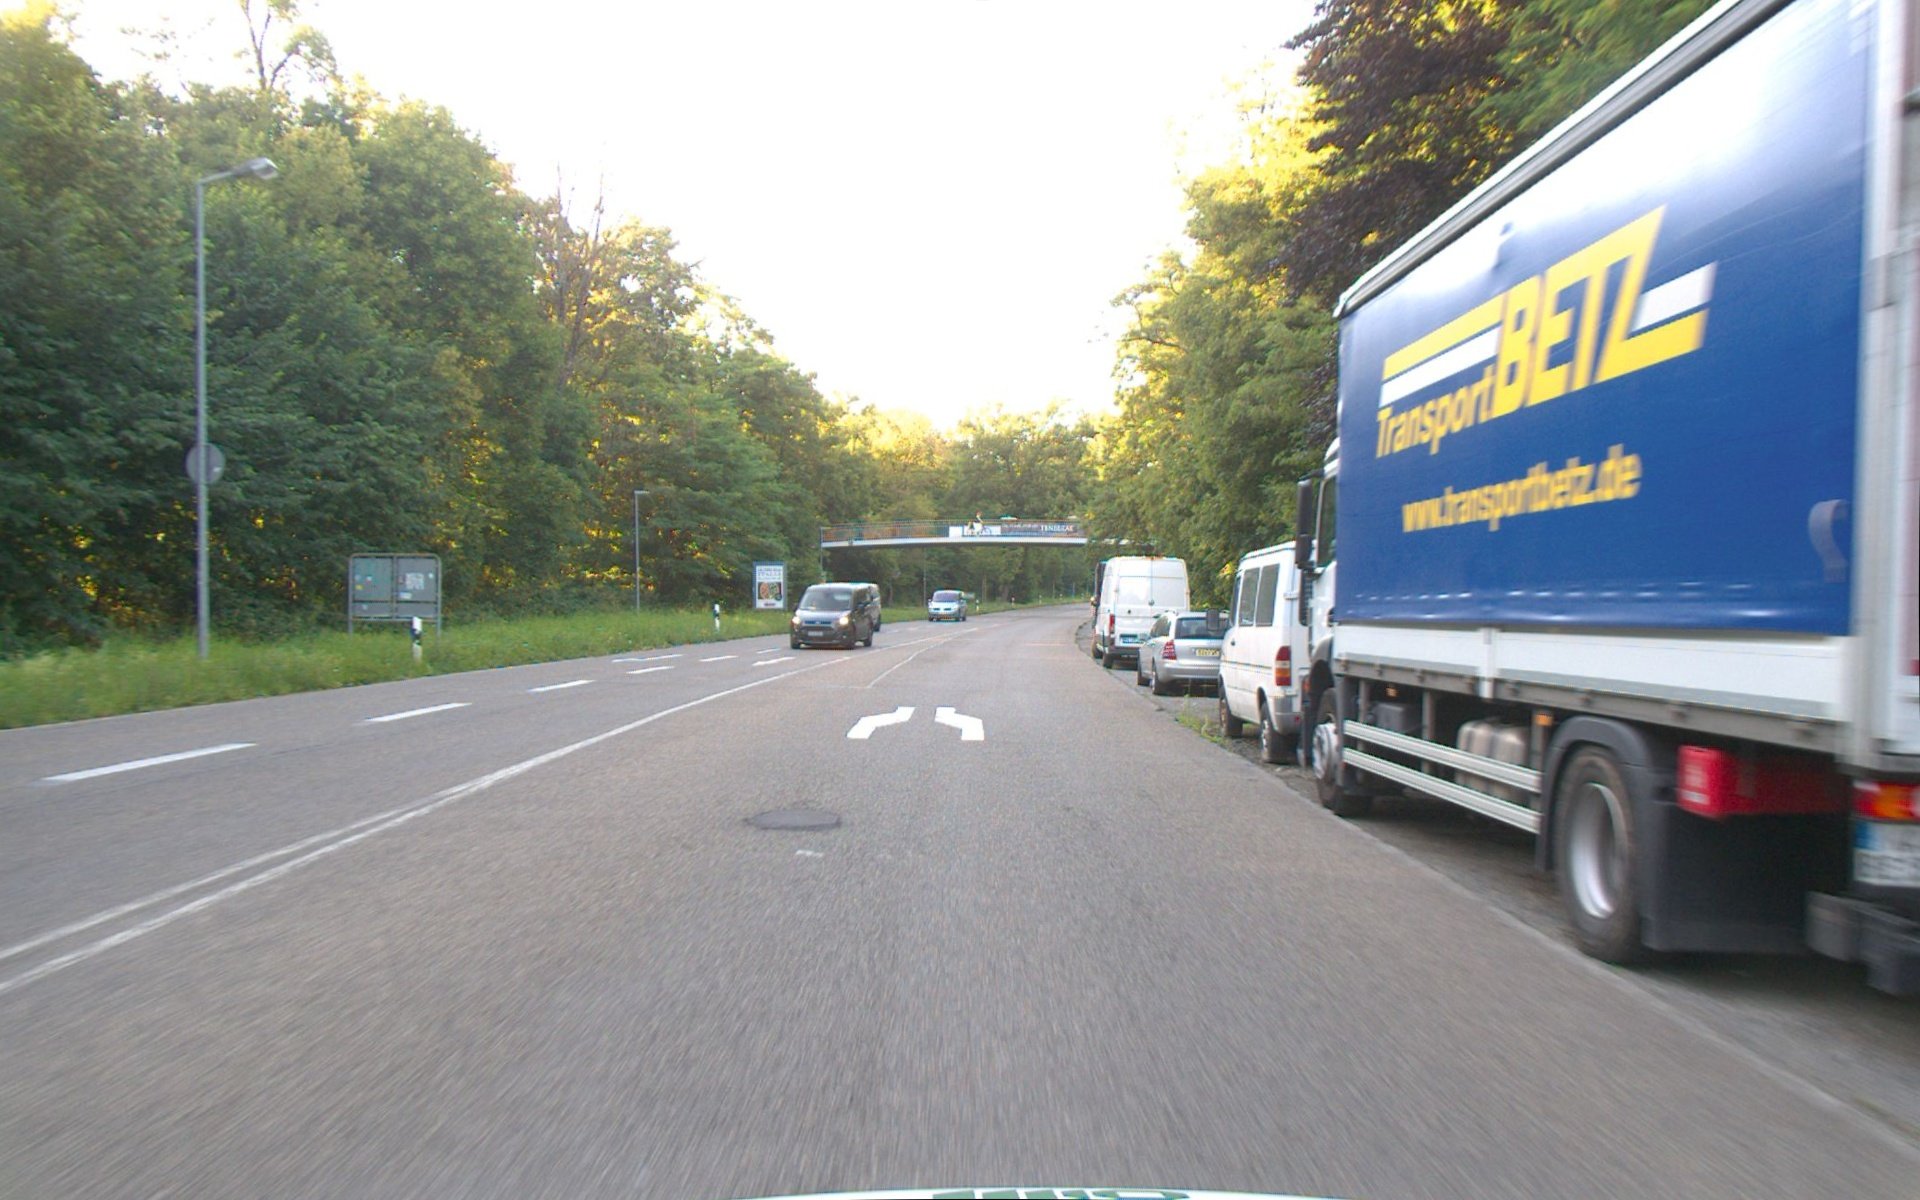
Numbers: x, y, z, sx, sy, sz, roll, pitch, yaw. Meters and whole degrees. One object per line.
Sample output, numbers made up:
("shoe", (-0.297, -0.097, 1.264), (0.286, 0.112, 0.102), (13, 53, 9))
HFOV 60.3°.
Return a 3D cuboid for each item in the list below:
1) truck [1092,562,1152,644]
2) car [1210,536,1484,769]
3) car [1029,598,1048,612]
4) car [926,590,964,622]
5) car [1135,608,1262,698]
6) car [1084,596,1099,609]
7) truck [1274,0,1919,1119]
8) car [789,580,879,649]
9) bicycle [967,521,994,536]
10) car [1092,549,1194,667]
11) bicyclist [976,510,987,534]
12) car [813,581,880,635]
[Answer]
("truck", (5.848, 0.095, 60.194), (1.951, 2.764, 6.619), (2, 0, 5))
("car", (4.216, 0.517, 18.893), (1.953, 2.227, 4.928), (3, 0, 1))
("car", (8.511, 0.520, 178.722), (1.852, 1.473, 4.112), (0, 0, 5))
("car", (-0.862, 0.359, 95.465), (1.804, 1.766, 4.002), (1, 0, 5))
("car", (4.194, 0.889, 29.655), (1.649, 1.397, 4.270), (3, 0, 1))
("car", (15.619, 0.316, 196.269), (1.852, 1.473, 4.112), (0, 0, 5))
("truck", (4.151, -0.449, 9.980), (2.603, 4.098, 9.721), (1, 0, 0))
("car", (-3.556, 0.402, 47.474), (1.804, 1.831, 4.750), (1, 0, 5))
("bicycle", (1.431, -4.990, 115.812), (1.805, 0.965, 0.551), (1, 0, 7))
("car", (4.349, 0.183, 40.214), (1.923, 2.555, 6.017), (2, 0, 2))
("bicyclist", (1.492, -5.467, 115.813), (0.650, 1.609, 0.548), (1, 0, 7))
("car", (-4.428, 0.286, 65.085), (1.952, 1.959, 4.383), (3, 0, 4))
